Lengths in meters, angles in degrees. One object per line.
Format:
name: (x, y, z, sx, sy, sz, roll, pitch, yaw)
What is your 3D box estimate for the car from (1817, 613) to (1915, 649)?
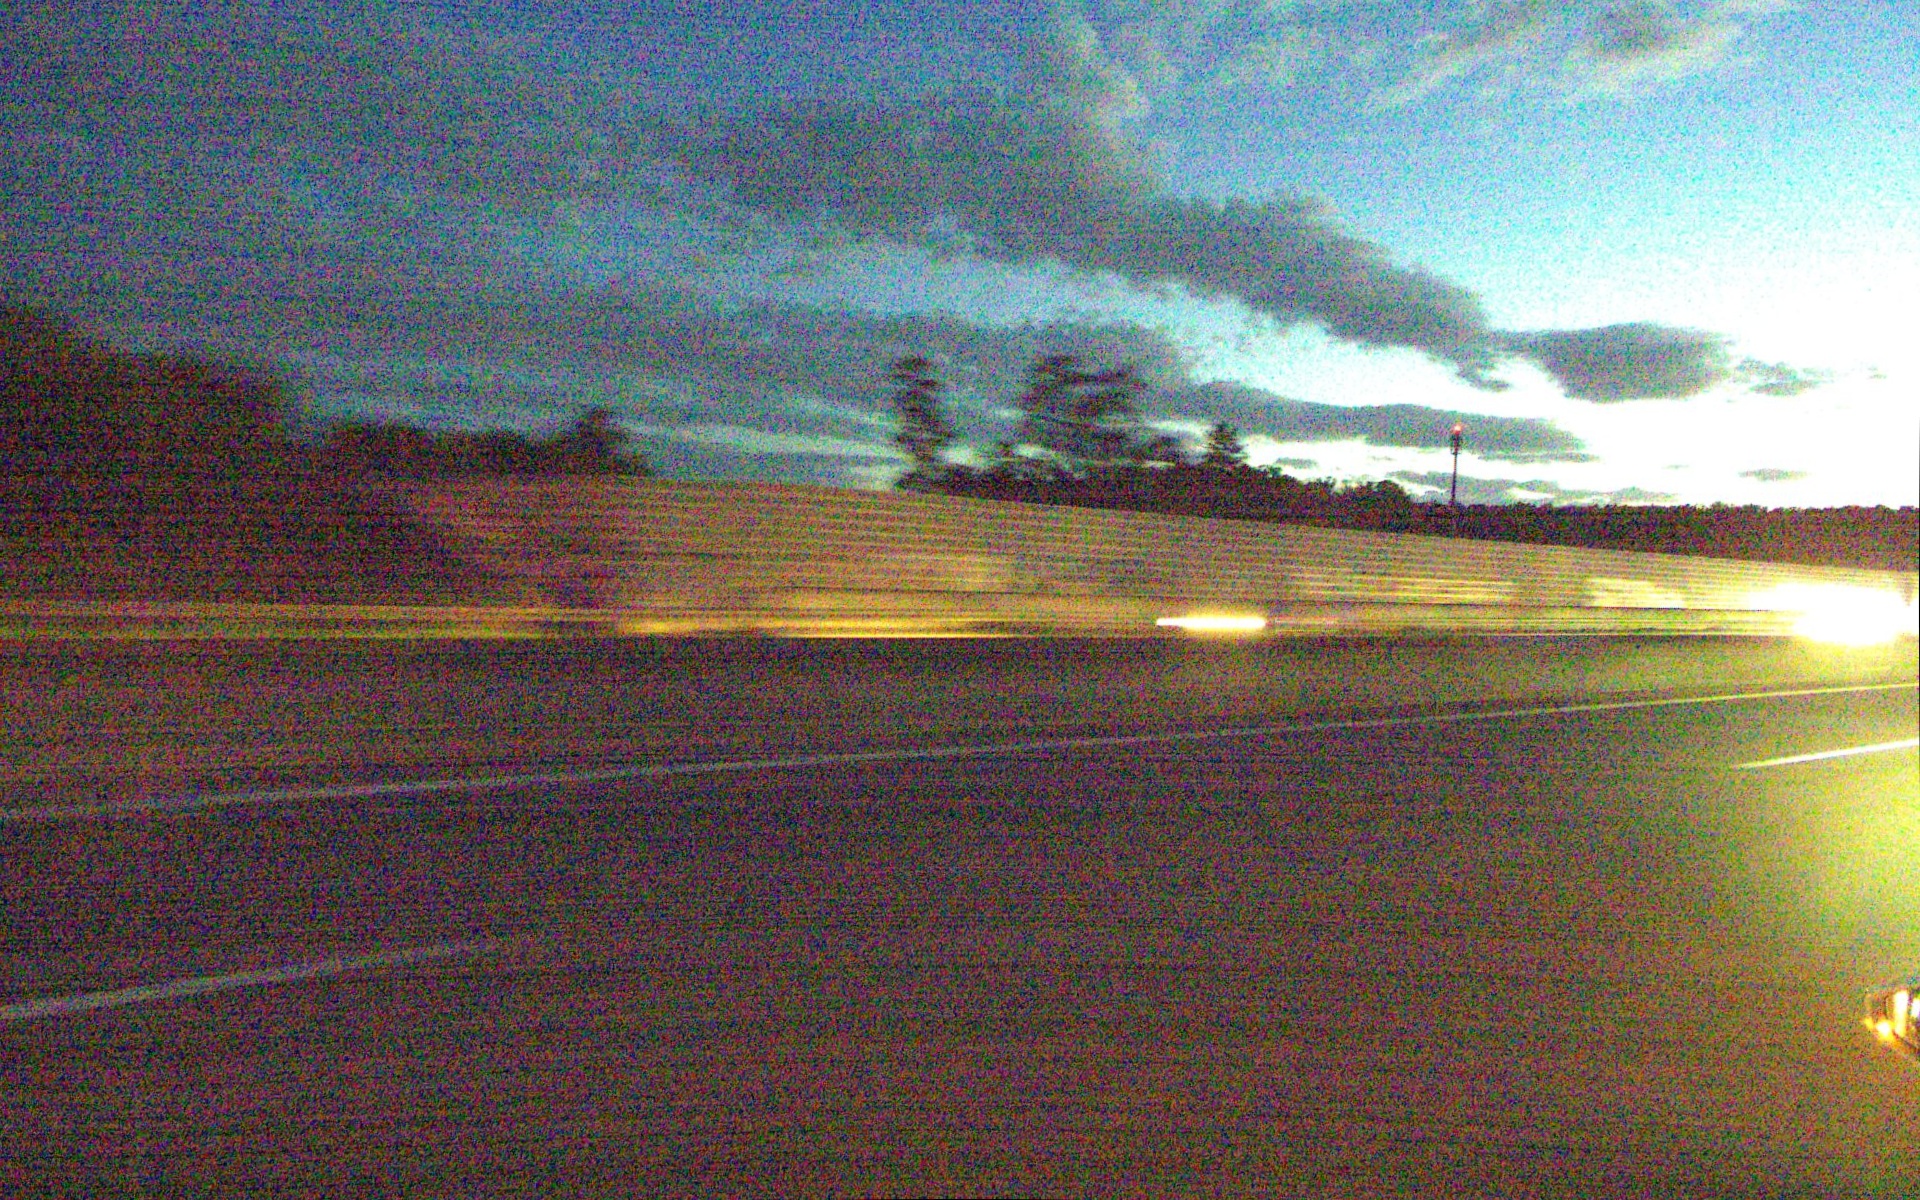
car: (42.879, 1.473, 47.519, 5.052, 1.576, 2.107, 1, 0, -32)

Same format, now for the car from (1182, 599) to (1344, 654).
car: (9.637, 0.847, 31.849, 5.052, 1.576, 2.107, 1, 0, -32)
